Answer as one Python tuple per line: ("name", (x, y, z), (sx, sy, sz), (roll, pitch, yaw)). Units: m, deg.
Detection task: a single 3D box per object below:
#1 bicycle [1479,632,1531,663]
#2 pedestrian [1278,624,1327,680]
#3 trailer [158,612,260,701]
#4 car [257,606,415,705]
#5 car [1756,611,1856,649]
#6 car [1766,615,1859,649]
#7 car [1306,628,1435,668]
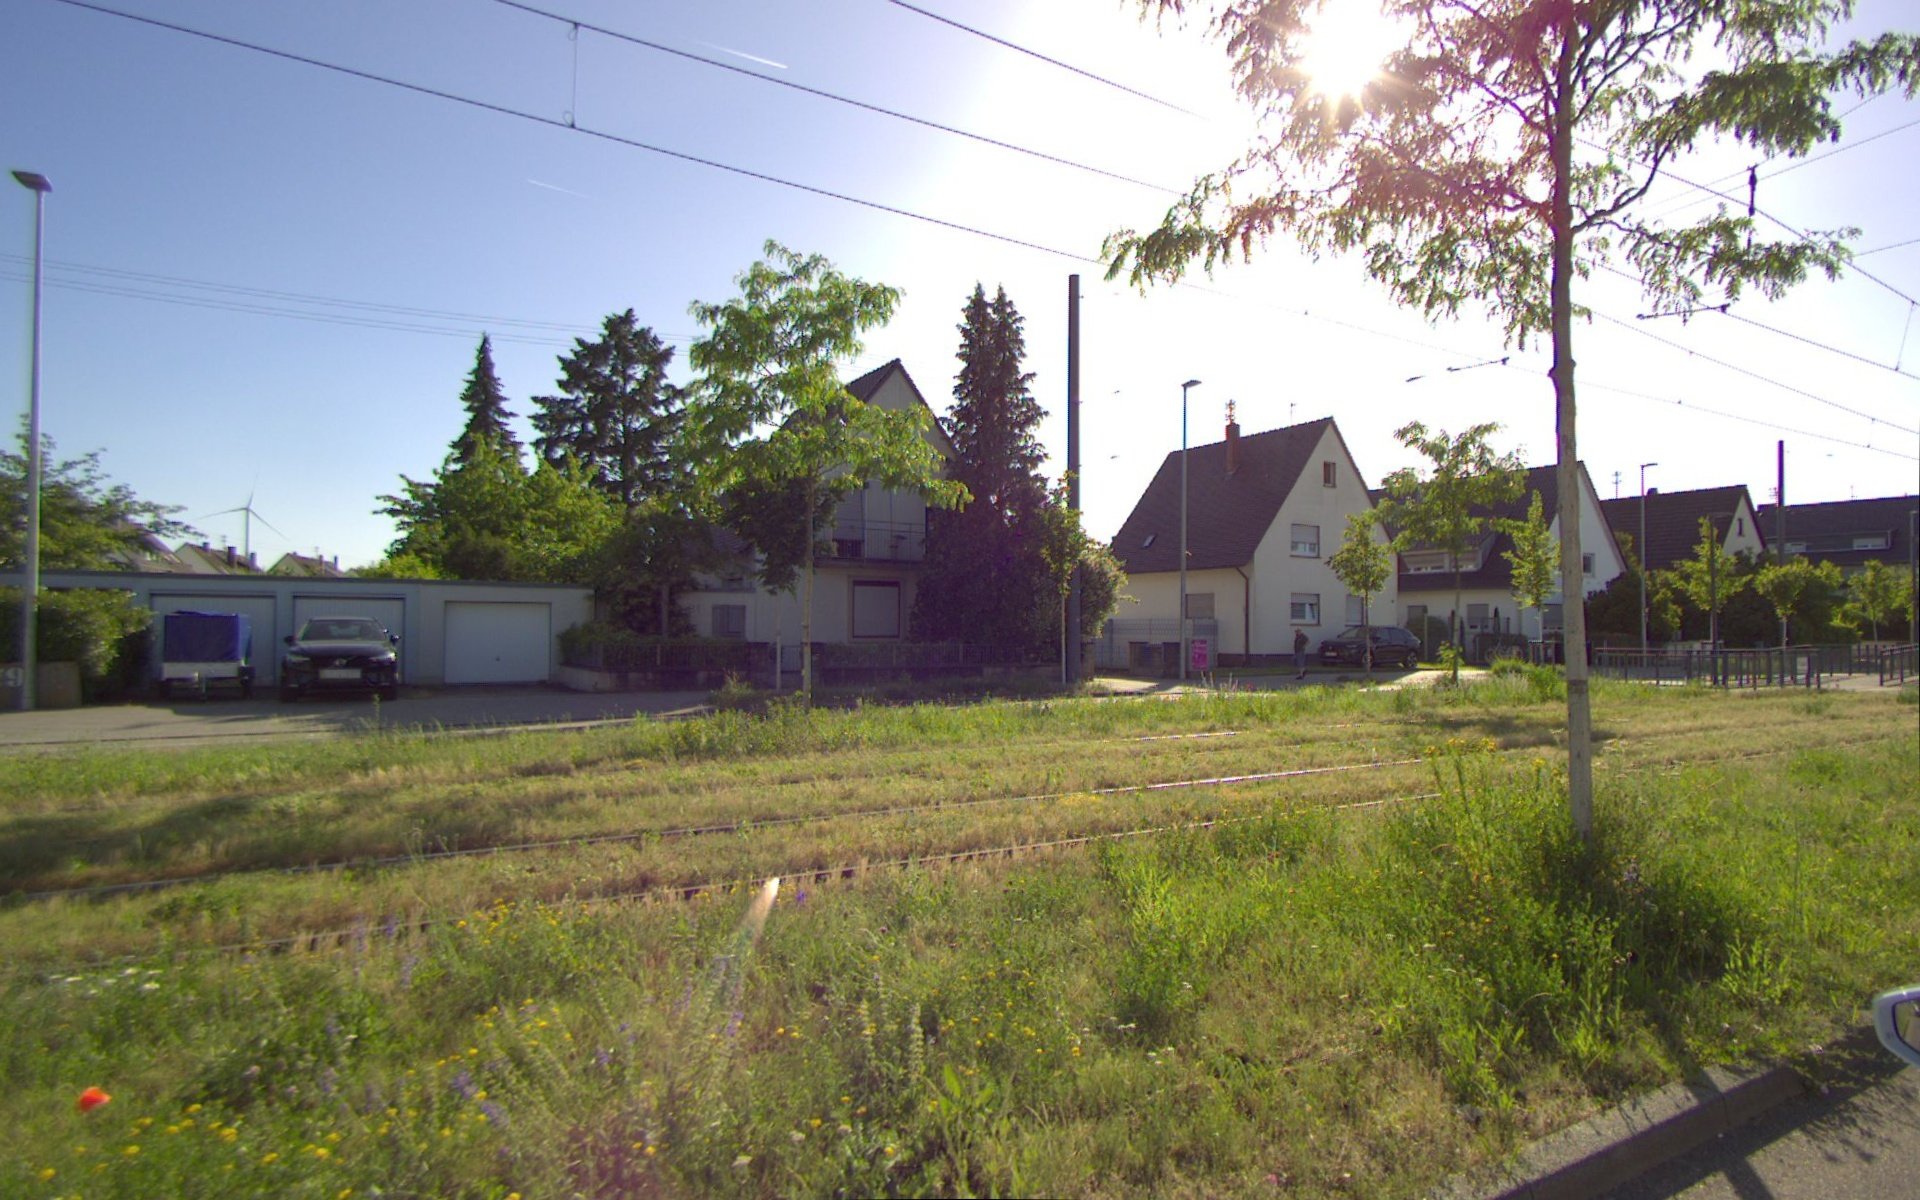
("bicycle", (24.797, 2.152, 45.761), (0.698, 1.383, 1.975), (1, -2, -36))
("pedestrian", (10.367, 1.562, 30.405), (1.073, 1.662, 0.960), (1, -2, -30))
("trailer", (-15.128, 1.104, 20.345), (1.383, 1.669, 2.898), (1, -2, -32))
("car", (-12.657, 1.072, 20.247), (2.037, 1.757, 4.501), (2, -2, -41))
("car", (47.277, 1.680, 56.214), (1.915, 1.996, 3.958), (2, -1, -37))
("car", (49.331, 1.855, 58.184), (1.783, 1.830, 3.816), (2, -1, -37))
("car", (15.775, 1.820, 38.556), (5.102, 1.469, 1.925), (1, -2, -30))
